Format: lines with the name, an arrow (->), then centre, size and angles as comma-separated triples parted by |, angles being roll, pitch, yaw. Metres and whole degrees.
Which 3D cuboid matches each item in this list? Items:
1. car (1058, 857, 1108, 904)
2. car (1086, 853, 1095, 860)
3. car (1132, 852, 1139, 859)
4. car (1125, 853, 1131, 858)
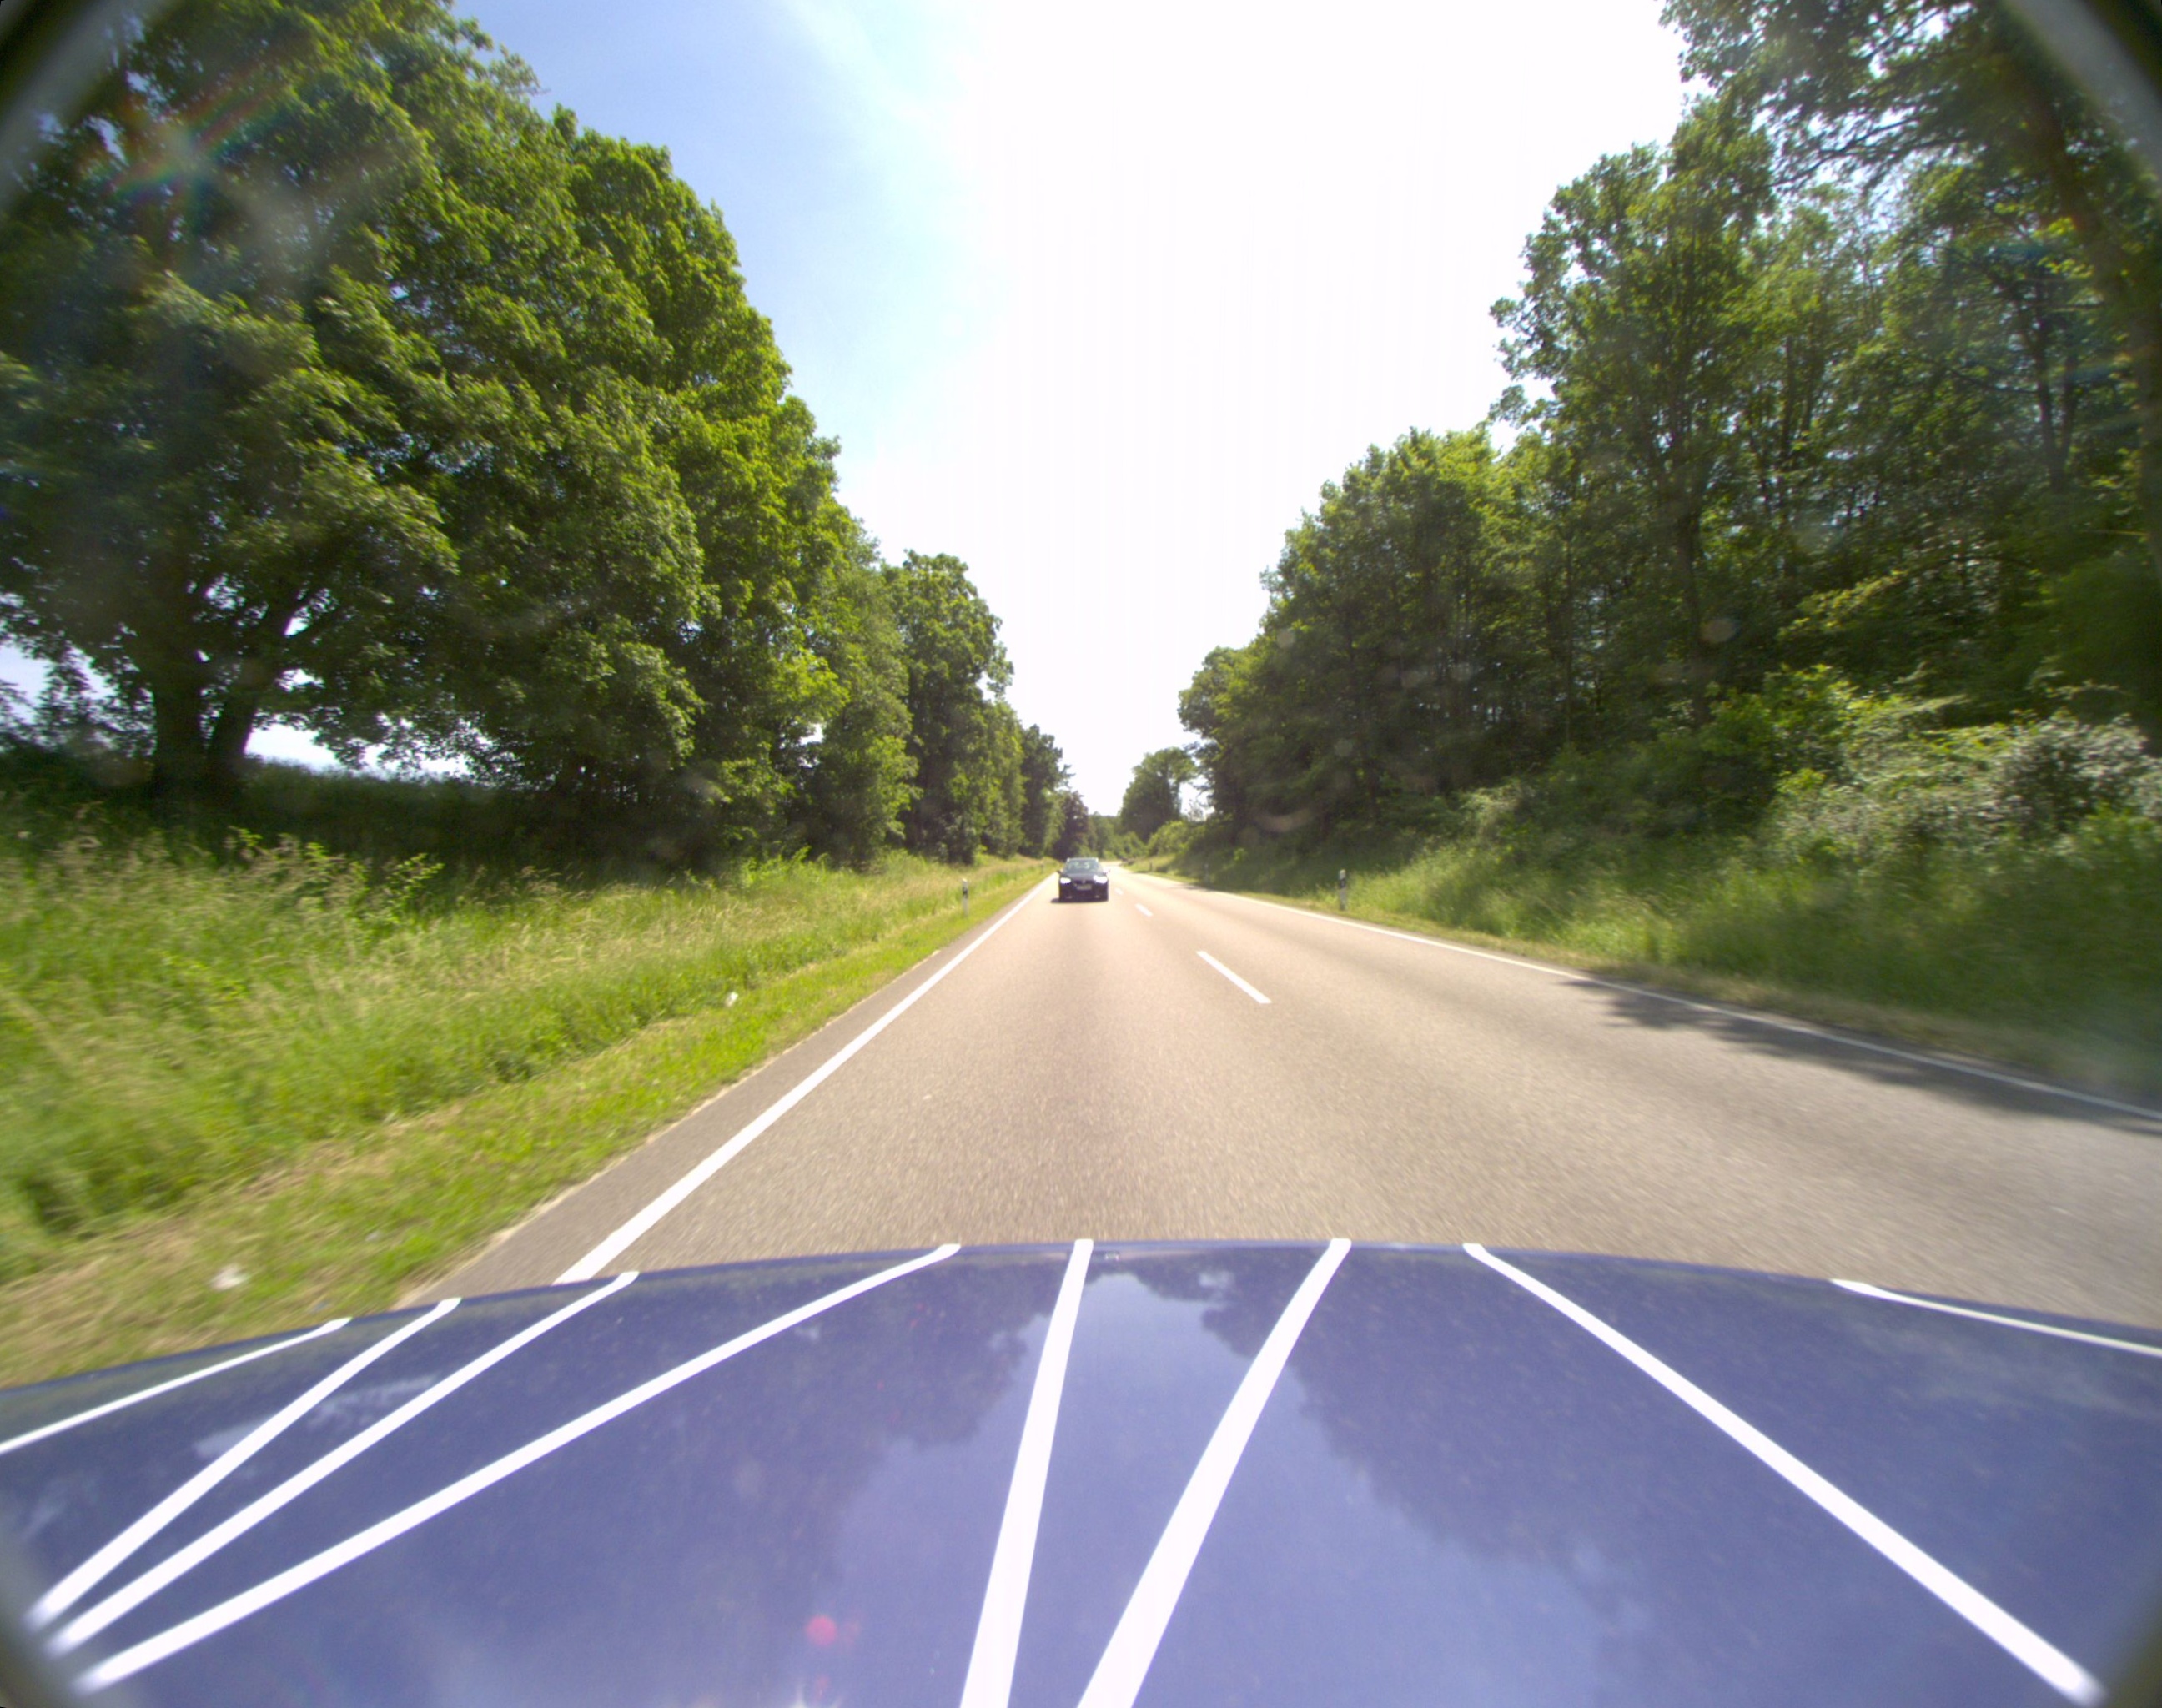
car -> 0.051, 0.906, 27.372 | 1.662, 1.531, 3.486 | -1, 0, -1
car -> 2.119, 0.581, 166.774 | 1.811, 1.580, 4.001 | 0, 0, 5
car -> 15.667, 0.373, 218.741 | 1.997, 2.002, 4.002 | 0, 0, 7
car -> 14.309, 0.423, 230.516 | 1.775, 1.561, 4.219 | 0, 0, 6
